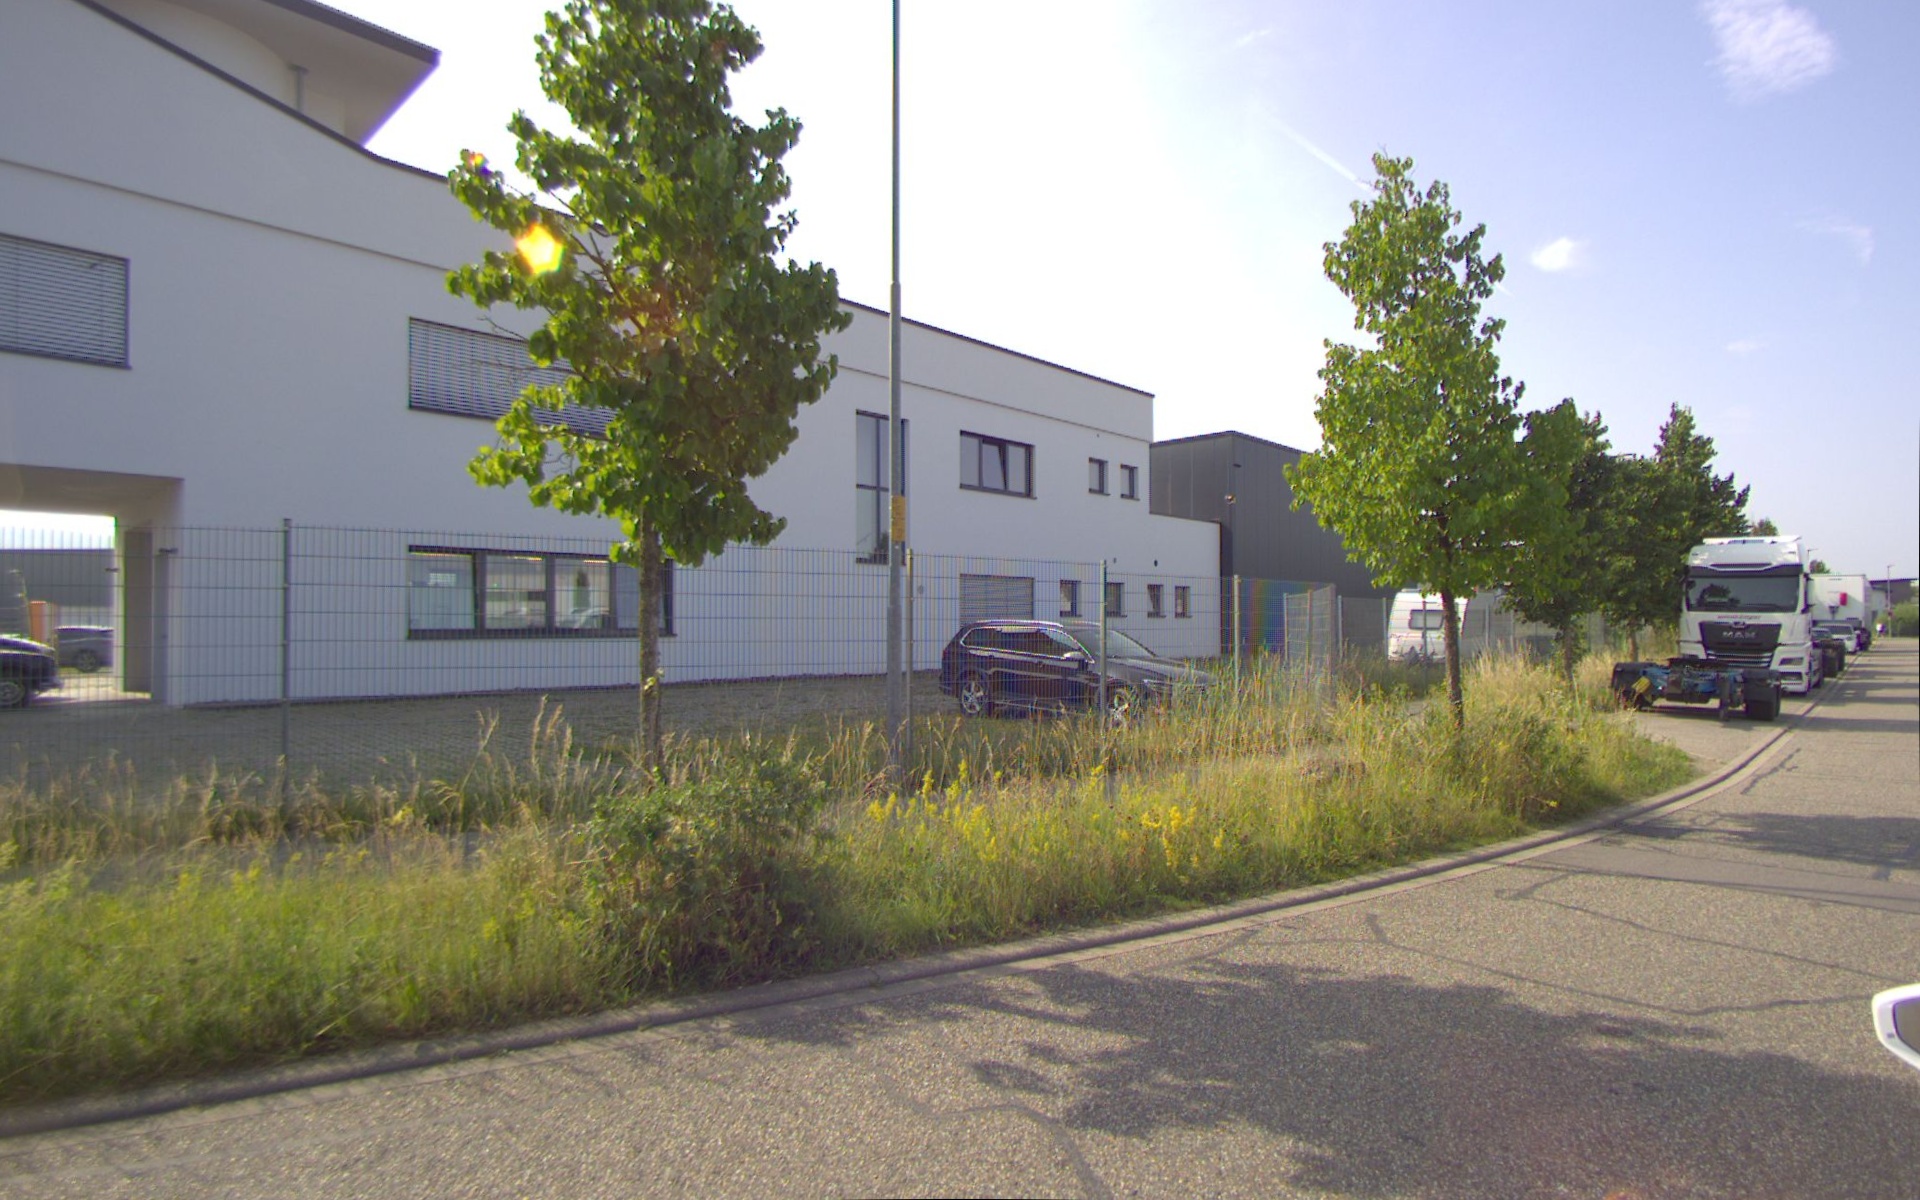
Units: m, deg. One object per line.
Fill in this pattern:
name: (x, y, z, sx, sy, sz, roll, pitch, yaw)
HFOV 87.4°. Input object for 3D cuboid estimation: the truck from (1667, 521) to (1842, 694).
truck: (22.995, 0.275, 28.669, 2.599, 3.981, 12.837, 0, -1, 44)

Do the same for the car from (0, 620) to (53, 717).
car: (-15.653, 1.005, 14.360, 1.542, 1.434, 3.897, -1, -1, 44)

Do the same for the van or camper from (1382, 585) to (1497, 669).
van or camper: (16.078, 0.884, 33.565, 2.278, 2.594, 4.929, -1, -2, 40)

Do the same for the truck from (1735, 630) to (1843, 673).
truck: (28.682, 1.705, 34.655, 2.497, 1.282, 6.489, -1, -1, 43)

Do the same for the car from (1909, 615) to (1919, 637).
car: (80.619, 2.151, 83.856, 1.972, 1.795, 3.977, -1, -1, 43)

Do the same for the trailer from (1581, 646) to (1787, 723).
trailer: (13.799, 1.494, 19.003, 2.546, 1.114, 5.171, -2, -2, 43)

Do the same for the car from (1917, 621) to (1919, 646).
car: (67.341, 2.305, 69.192, 1.972, 1.661, 3.977, -1, -1, 43)

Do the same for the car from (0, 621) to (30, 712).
car: (-17.582, 1.091, 16.013, 1.844, 1.507, 3.976, -1, -1, 44)

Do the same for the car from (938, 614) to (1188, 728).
car: (1.473, 0.966, 15.038, 3.453, 1.473, 1.588, 0, -1, 42)

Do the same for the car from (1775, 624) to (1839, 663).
car: (33.745, 1.706, 40.064, 1.863, 1.455, 3.981, -1, -2, 40)

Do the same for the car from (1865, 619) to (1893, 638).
car: (91.986, 2.834, 100.520, 1.972, 1.795, 3.977, -1, -1, 43)

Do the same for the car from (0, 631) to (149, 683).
car: (-31.769, 2.000, 35.546, 4.370, 1.751, 1.989, 0, -1, -5)

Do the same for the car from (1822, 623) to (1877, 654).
car: (43.723, 1.863, 49.358, 1.792, 1.446, 3.975, -1, -2, 45)

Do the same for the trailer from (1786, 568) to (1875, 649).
trailer: (52.647, 0.571, 60.547, 3.368, 4.397, 13.836, -1, -2, 44)
